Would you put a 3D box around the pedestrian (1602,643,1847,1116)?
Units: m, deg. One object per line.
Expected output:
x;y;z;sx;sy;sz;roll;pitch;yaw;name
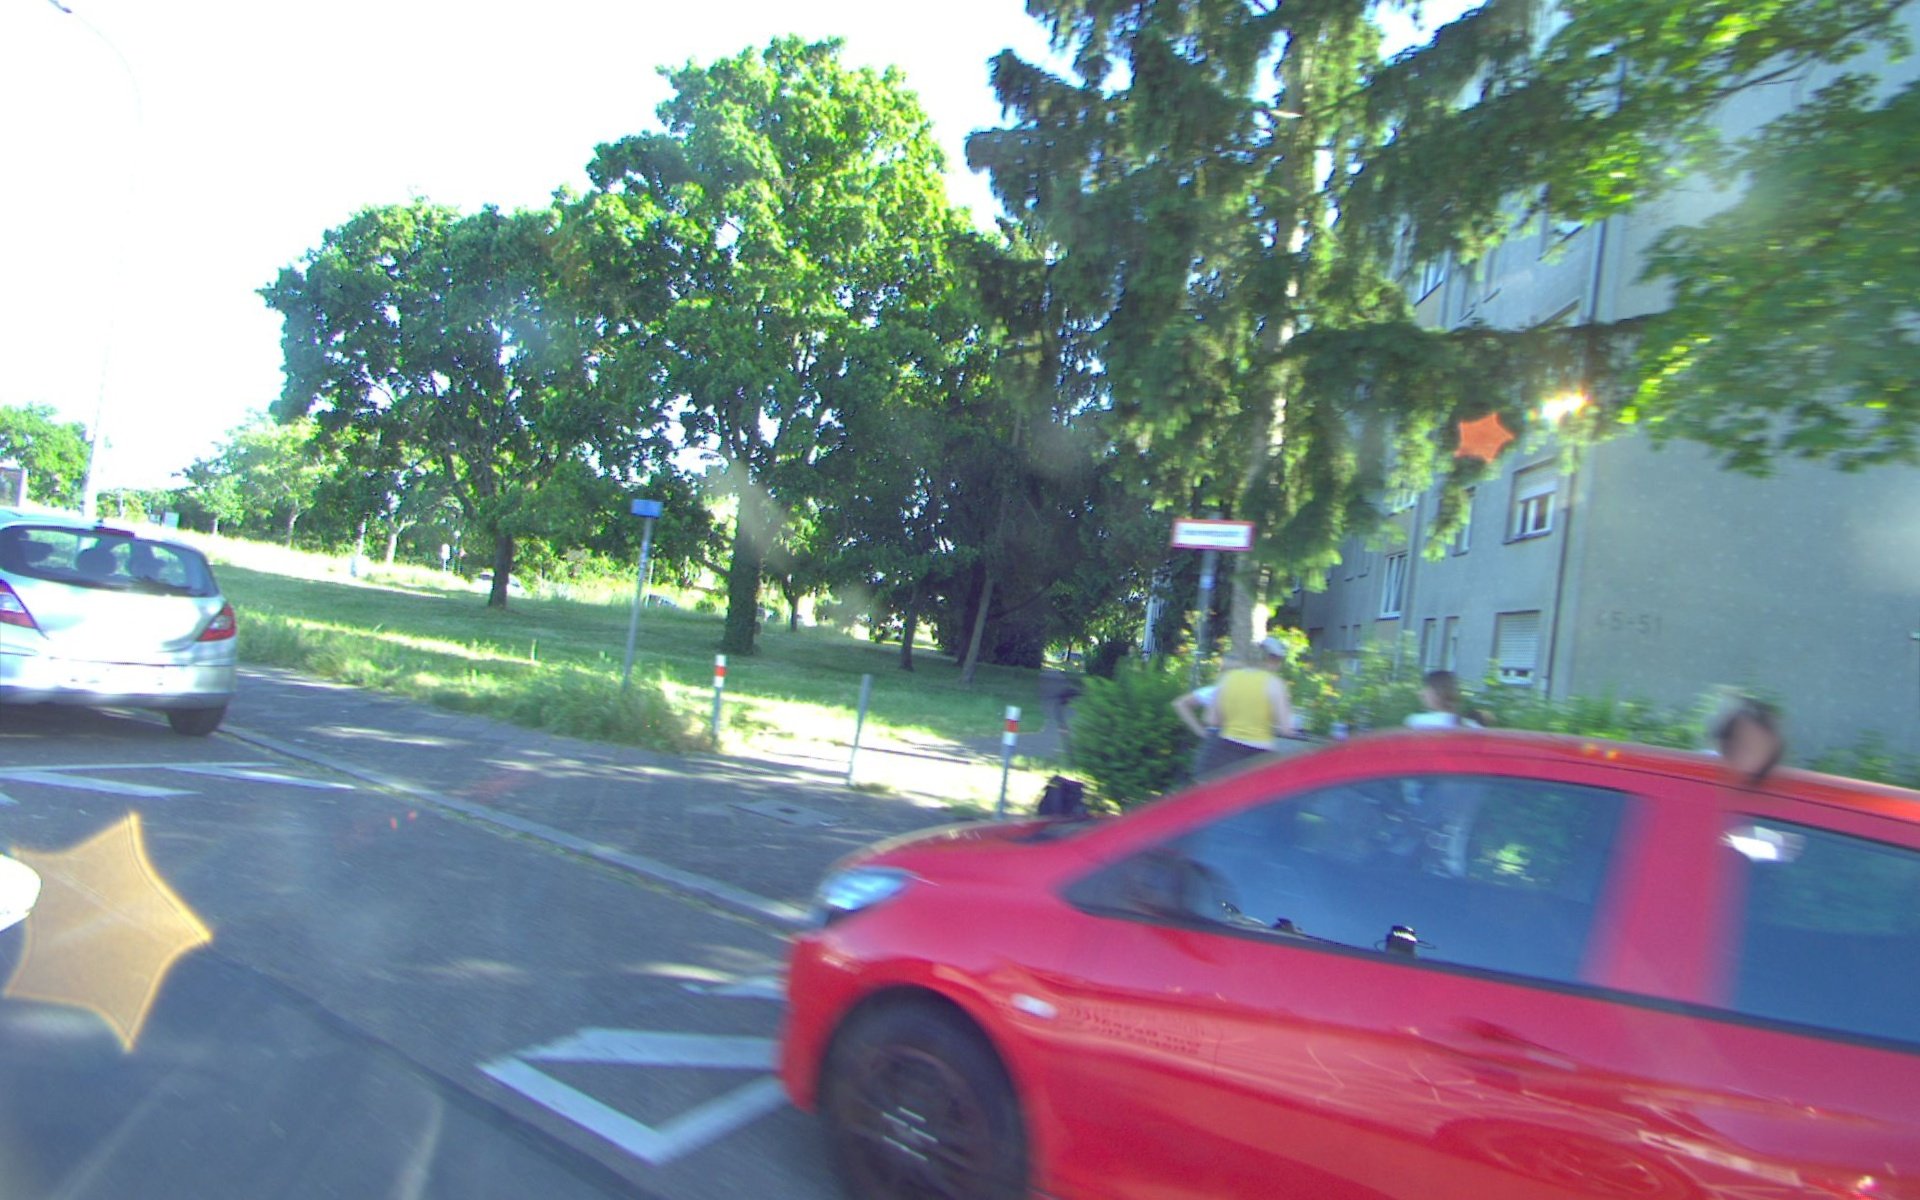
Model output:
2.974;1.025;3.984;0.560;1.581;0.790;6;-4;31;pedestrian

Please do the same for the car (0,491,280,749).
-7.143;0.039;7.566;3.724;1.560;1.736;6;-3;29;car

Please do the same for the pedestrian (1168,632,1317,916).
1.719;1.020;6.118;0.589;1.583;0.480;5;-1;42;pedestrian

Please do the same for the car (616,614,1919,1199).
1.086;1.022;2.697;3.724;1.462;1.580;6;-3;29;car

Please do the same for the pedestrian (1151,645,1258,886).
1.655;1.092;6.806;0.492;1.521;0.362;5;0;29;pedestrian

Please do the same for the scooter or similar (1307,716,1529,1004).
2.412;1.295;5.294;0.890;1.242;0.624;6;-1;31;scooter or similar

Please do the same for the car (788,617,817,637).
-17.666;3.026;112.986;1.672;1.872;3.856;9;-2;11;car

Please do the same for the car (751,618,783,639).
-19.596;2.907;102.476;1.672;1.779;3.856;9;-2;11;car

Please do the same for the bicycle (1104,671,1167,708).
5.167;2.646;29.678;1.652;0.855;0.513;6;-4;31;bicycle

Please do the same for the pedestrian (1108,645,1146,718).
4.019;1.969;24.264;0.528;1.680;0.489;5;-4;42;pedestrian

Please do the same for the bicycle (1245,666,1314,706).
8.741;2.355;27.568;1.652;0.855;0.513;6;-4;31;bicycle

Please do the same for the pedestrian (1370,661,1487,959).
2.712;1.172;5.815;0.461;1.583;0.486;5;-1;27;pedestrian

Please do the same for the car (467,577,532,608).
-28.050;-0.436;61.423;1.694;1.496;3.745;7;-2;9;car

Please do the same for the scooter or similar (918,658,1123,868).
0.404;1.092;6.880;1.231;1.242;0.400;7;-1;0;scooter or similar
